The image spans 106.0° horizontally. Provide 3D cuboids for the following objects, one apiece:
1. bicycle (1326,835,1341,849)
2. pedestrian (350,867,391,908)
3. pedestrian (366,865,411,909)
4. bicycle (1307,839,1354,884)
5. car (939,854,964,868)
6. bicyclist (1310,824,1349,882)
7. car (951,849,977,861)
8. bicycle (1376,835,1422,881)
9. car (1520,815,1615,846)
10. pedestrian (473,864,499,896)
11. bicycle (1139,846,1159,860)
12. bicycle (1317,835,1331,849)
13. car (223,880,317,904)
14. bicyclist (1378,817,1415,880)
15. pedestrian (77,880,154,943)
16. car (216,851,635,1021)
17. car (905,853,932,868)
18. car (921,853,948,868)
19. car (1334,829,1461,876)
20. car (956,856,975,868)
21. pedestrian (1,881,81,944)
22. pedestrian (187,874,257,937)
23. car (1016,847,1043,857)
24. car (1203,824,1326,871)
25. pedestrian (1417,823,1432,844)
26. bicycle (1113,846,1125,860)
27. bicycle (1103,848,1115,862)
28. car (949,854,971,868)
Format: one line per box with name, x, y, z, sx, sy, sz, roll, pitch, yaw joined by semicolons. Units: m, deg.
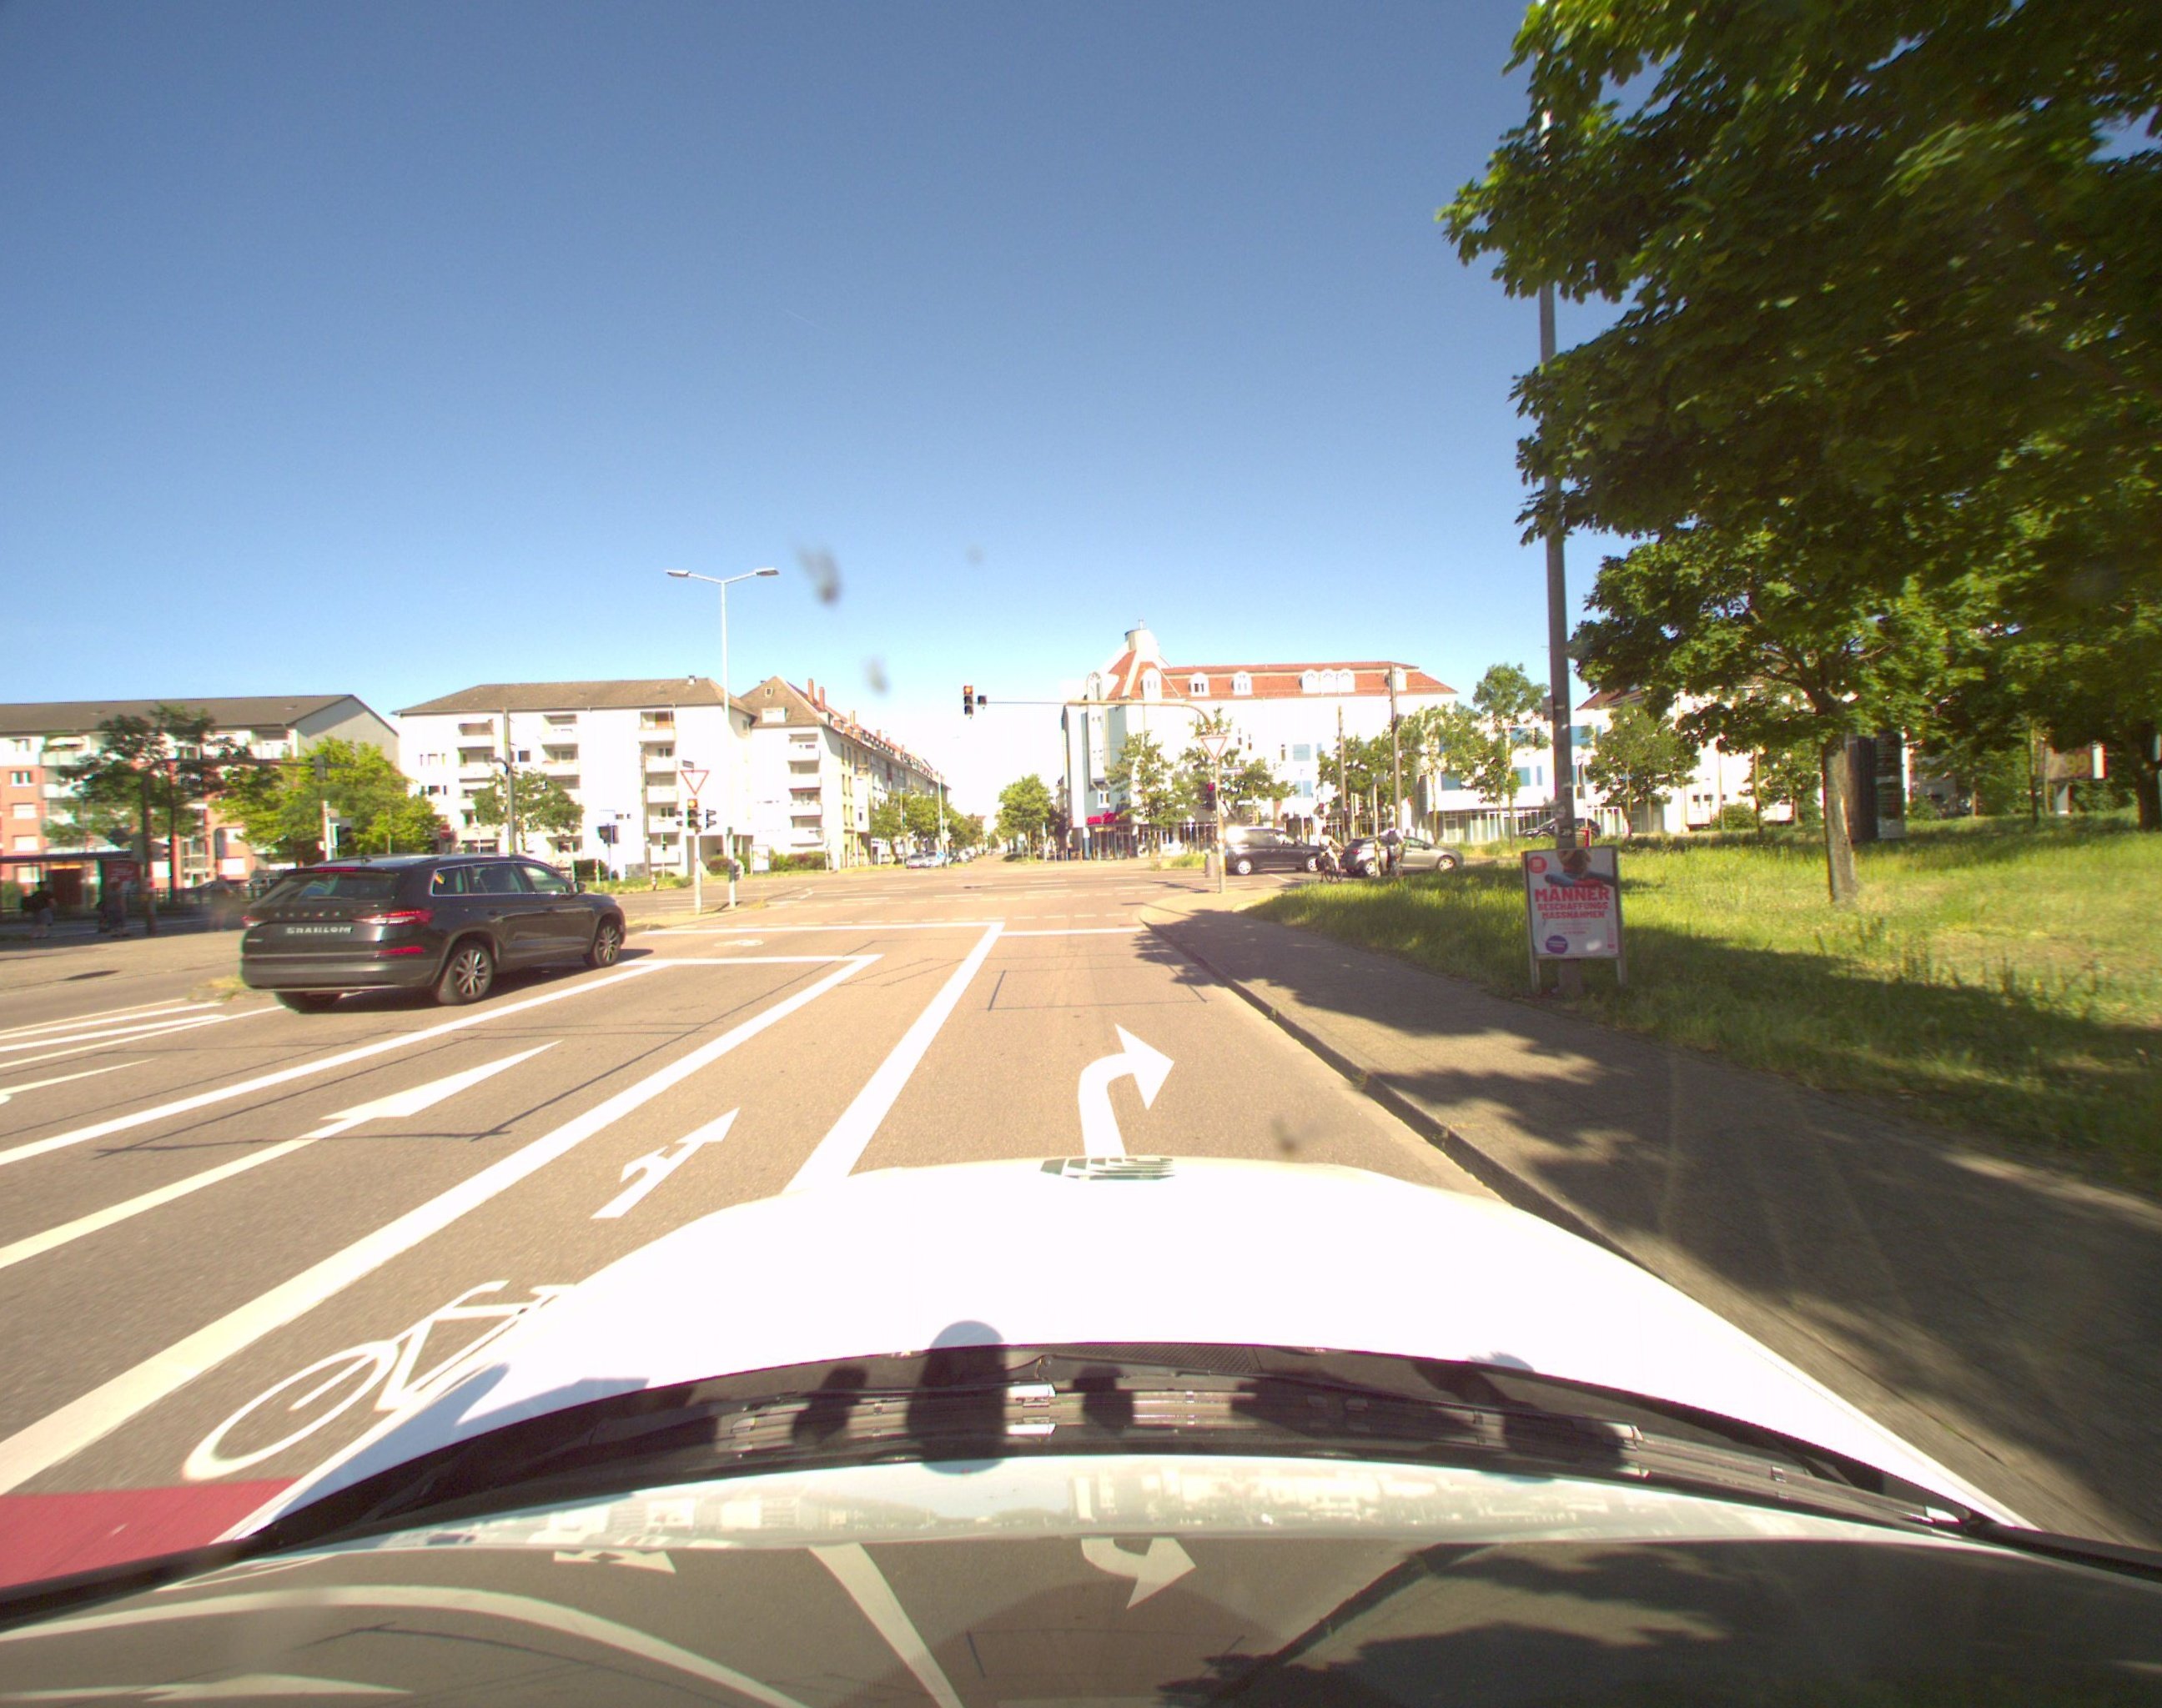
bicycle;21.907;-1.018;70.791;0.559;1.182;1.867;-3;0;-4
pedestrian;-31.386;1.477;35.993;0.810;1.726;1.151;-3;0;-7
pedestrian;-29.982;1.415;35.276;0.920;1.770;1.151;-3;0;-7
bicycle;8.131;0.216;26.478;0.782;1.347;2.092;-3;0;35
car;-13.130;0.689;82.941;1.682;1.432;4.401;0;0;2
bicyclist;8.057;-0.038;26.370;0.782;1.824;1.143;-3;0;35
car;-20.787;0.187;144.819;4.498;2.014;1.996;-2;-1;-6
bicycle;10.185;0.108;26.052;0.782;1.347;2.277;-3;0;35
car;29.376;-1.407;49.299;4.477;1.609;2.004;-3;0;6
pedestrian;-32.835;1.444;44.908;1.139;1.726;0.818;-2;0;39
bicycle;5.387;-0.059;64.313;1.503;1.027;0.474;-3;0;8
bicycle;21.021;-1.008;70.437;0.559;1.182;1.867;-3;0;-4
car;-56.633;2.618;56.946;1.672;1.432;4.428;0;0;36
bicyclist;10.016;-0.180;25.849;0.782;1.959;1.018;-3;0;35
pedestrian;-28.088;1.653;23.716;0.810;1.726;1.151;-3;0;-7
car;-7.536;0.784;10.099;1.750;1.628;4.473;0;0;-3
car;-15.688;0.599;78.952;1.682;1.432;4.399;0;0;0
car;-13.589;0.583;75.706;1.682;1.432;4.399;0;0;0
car;11.112;-0.059;28.751;3.848;1.577;1.692;0;0;-2
car;-13.960;0.966;98.732;1.682;1.432;4.399;0;0;0
pedestrian;-30.548;1.703;23.953;0.810;1.726;1.151;-3;0;-7
pedestrian;-25.418;1.503;24.132;0.810;1.726;1.151;-3;0;-7
car;-7.210;-0.278;114.603;3.569;1.223;1.724;-2;-1;-12
car;7.191;-0.241;32.170;4.472;1.800;1.763;0;0;-3
pedestrian;29.728;-1.793;70.469;0.987;1.723;0.653;-3;0;-4
bicycle;2.884;-0.085;62.450;0.472;1.027;1.509;-3;0;-14
bicycle;2.138;0.059;61.894;0.472;1.027;1.509;-3;0;-13
car;-13.143;0.735;88.595;1.682;1.432;4.399;0;0;0
